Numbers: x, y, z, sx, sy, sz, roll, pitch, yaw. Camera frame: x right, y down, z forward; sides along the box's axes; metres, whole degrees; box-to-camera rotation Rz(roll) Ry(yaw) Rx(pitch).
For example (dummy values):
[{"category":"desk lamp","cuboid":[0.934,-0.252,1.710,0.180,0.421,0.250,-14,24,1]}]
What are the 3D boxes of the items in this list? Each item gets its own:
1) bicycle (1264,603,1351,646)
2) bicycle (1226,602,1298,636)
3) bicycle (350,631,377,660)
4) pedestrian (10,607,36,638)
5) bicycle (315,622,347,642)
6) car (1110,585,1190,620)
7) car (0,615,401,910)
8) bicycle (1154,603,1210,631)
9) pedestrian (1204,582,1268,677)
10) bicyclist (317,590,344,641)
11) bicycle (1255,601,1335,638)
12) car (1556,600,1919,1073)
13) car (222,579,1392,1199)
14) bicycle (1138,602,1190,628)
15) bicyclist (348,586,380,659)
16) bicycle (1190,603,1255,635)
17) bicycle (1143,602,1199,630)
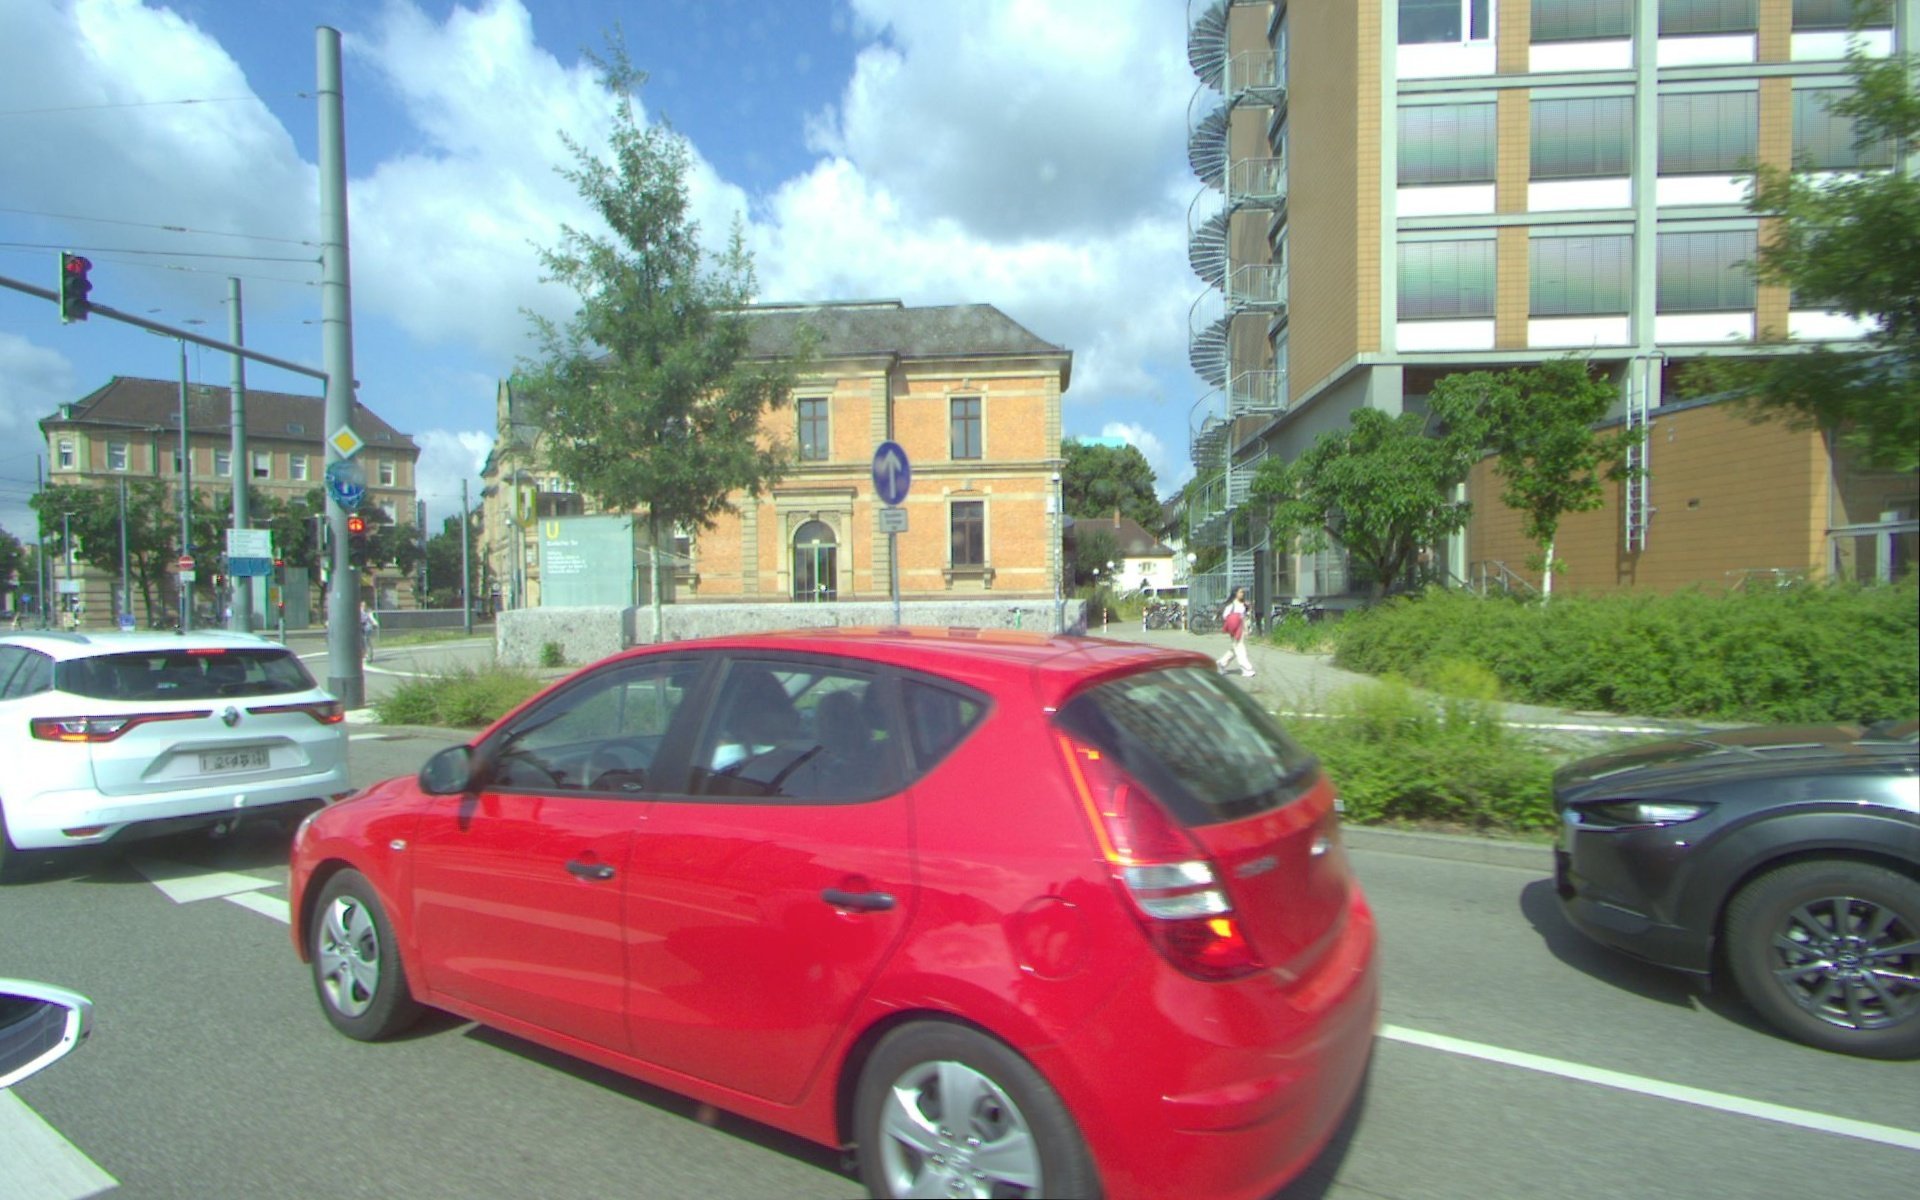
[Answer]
[{"category":"bicycle","cuboid":[9.049,0.639,26.116,2.031,1.087,0.666,-1,1,-3]},{"category":"bicycle","cuboid":[9.818,0.614,32.603,2.031,1.087,1.037,-1,0,-3]},{"category":"bicycle","cuboid":[-16.947,1.288,28.456,0.522,0.753,1.757,-1,0,-27]},{"category":"pedestrian","cuboid":[-48.132,1.167,51.451,0.661,1.556,0.675,-1,1,-7]},{"category":"bicycle","cuboid":[-25.614,1.291,40.753,1.742,0.753,0.527,-1,0,37]},{"category":"car","cuboid":[11.601,0.140,61.377,4.624,2.040,2.000,-1,0,3]},{"category":"car","cuboid":[-5.974,0.857,7.066,4.276,1.491,1.843,-1,0,34]},{"category":"bicycle","cuboid":[8.771,0.656,39.521,2.031,1.087,0.748,-1,1,-3]},{"category":"pedestrian","cuboid":[5.113,0.532,18.585,0.753,1.709,0.878,-1,1,-23]},{"category":"bicyclist","cuboid":[-25.638,0.632,40.791,0.778,2.040,0.696,0,1,37]},{"category":"bicycle","cuboid":[10.081,0.582,30.163,2.031,1.087,1.037,-1,0,-3]},{"category":"car","cuboid":[4.473,0.770,3.453,4.143,1.527,1.803,-1,-1,31]},{"category":"car","cuboid":[-0.723,0.792,3.656,4.009,1.457,1.814,-2,-4,32]},{"category":"bicycle","cuboid":[8.680,0.625,42.628,2.031,1.087,0.748,-1,1,-3]},{"category":"bicyclist","cuboid":[-16.956,0.639,28.511,0.690,2.040,0.785,-1,1,-27]},{"category":"bicycle","cuboid":[9.043,0.641,34.567,2.031,1.087,0.748,-1,1,-3]},{"category":"bicycle","cuboid":[8.596,0.639,40.820,2.031,1.087,1.044,-1,0,-3]}]
